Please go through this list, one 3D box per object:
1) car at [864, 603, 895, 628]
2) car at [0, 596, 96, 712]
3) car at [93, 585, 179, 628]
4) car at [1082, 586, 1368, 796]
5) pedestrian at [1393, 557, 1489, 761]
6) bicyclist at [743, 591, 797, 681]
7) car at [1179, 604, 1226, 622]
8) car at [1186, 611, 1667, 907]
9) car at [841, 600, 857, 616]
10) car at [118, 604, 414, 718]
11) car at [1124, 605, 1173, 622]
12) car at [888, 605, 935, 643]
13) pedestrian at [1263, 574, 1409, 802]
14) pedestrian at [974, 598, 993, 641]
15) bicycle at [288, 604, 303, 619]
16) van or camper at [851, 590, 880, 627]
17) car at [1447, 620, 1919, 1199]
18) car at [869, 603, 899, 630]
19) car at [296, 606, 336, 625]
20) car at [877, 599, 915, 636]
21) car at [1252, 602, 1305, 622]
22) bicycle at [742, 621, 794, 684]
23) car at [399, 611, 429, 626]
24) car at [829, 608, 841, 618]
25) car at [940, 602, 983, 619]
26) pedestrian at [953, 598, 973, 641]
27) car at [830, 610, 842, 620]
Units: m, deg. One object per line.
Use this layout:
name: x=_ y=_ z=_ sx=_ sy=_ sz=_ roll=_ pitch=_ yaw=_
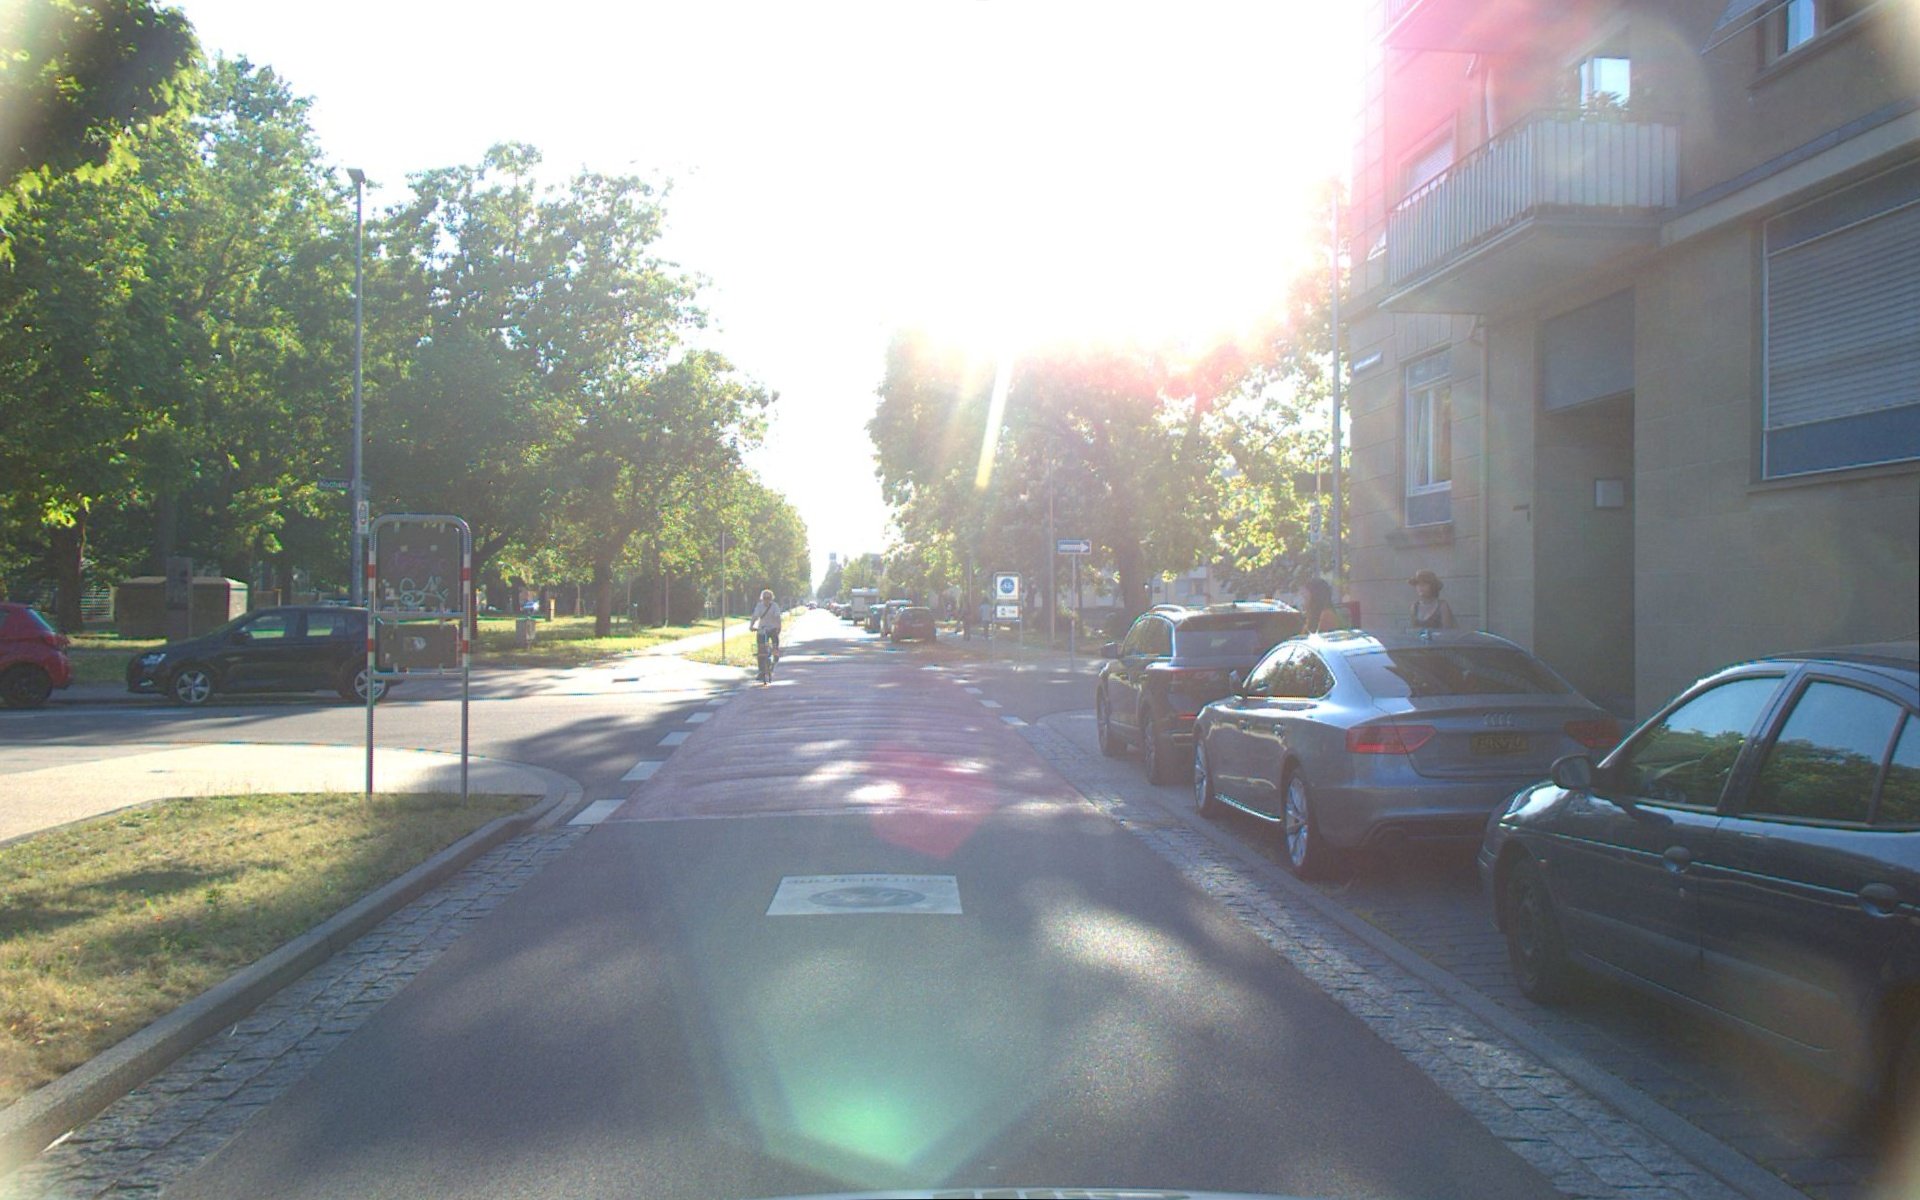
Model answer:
car: x=-5.138 y=0.989 z=104.923 sx=1.698 sy=1.578 sz=4.416 roll=0 pitch=-1 yaw=-6
car: x=-14.328 y=0.757 z=23.084 sx=3.945 sy=1.602 sz=1.872 roll=1 pitch=-2 yaw=-30
car: x=-49.960 y=0.415 z=100.449 sx=2.668 sy=2.506 sz=6.309 roll=0 pitch=-1 yaw=-6
car: x=2.378 y=0.736 z=15.947 sx=1.670 sy=1.654 sz=4.344 roll=-2 pitch=1 yaw=-5
pedestrian: x=4.522 y=0.538 z=15.544 sx=0.725 sy=1.862 sz=0.548 roll=1 pitch=0 yaw=-41
bicyclist: x=-3.728 y=0.699 z=32.575 sx=0.918 sy=1.732 sz=0.906 roll=0 pitch=0 yaw=1
car: x=21.758 y=1.209 z=148.220 sx=3.905 sy=1.579 sz=1.610 roll=-1 pitch=-1 yaw=22
car: x=2.696 y=0.831 z=10.664 sx=1.669 sy=1.445 sz=4.346 roll=-2 pitch=-1 yaw=-3
car: x=-11.871 y=0.909 z=177.129 sx=1.595 sy=1.698 sz=4.244 roll=0 pitch=-1 yaw=-6
car: x=-10.502 y=0.907 z=25.063 sx=3.945 sy=1.602 sz=1.872 roll=1 pitch=-2 yaw=-30
car: x=17.846 y=1.274 z=156.365 sx=4.415 sy=1.597 sz=1.882 roll=0 pitch=-1 yaw=13
car: x=-2.070 y=0.996 z=69.478 sx=1.646 sy=1.512 sz=4.803 roll=0 pitch=-1 yaw=-6
pedestrian: x=3.050 y=0.700 z=13.482 sx=0.934 sy=1.800 sz=0.777 roll=1 pitch=0 yaw=-6
pedestrian: x=0.963 y=0.804 z=68.236 sx=0.711 sy=1.766 sz=0.731 roll=1 pitch=0 yaw=-5
bicycle: x=-54.453 y=0.933 z=135.541 sx=0.644 sy=1.196 sz=2.329 roll=0 pitch=-1 yaw=-8
van or camper: x=-7.790 y=0.716 z=136.024 sx=2.191 sy=2.955 sz=5.665 roll=0 pitch=-1 yaw=-6
car: x=3.176 y=0.821 z=5.384 sx=1.670 sy=1.445 sz=4.032 roll=-2 pitch=-1 yaw=-5
car: x=-4.548 y=0.992 z=98.706 sx=1.697 sy=1.578 sz=4.271 roll=0 pitch=-1 yaw=-4
car: x=-53.329 y=1.316 z=137.063 sx=1.954 sy=1.534 sz=3.996 roll=0 pitch=-1 yaw=-4
car: x=-3.239 y=0.882 z=83.357 sx=1.646 sy=1.770 sz=4.508 roll=0 pitch=-1 yaw=-6
car: x=29.159 y=1.082 z=151.491 sx=4.427 sy=1.776 sz=1.877 roll=-1 pitch=-1 yaw=30
bicycle: x=-3.741 y=1.007 z=32.421 sx=0.723 sy=1.155 sz=2.105 roll=1 pitch=0 yaw=1
car: x=-55.273 y=1.847 z=167.374 sx=1.954 sy=1.534 sz=4.111 roll=0 pitch=-1 yaw=-4
car: x=-18.264 y=1.871 z=241.733 sx=1.595 sy=1.434 sz=4.244 roll=0 pitch=-1 yaw=-6
car: x=0.129 y=1.013 z=158.788 sx=4.110 sy=1.557 sz=1.999 roll=0 pitch=-1 yaw=-1
pedestrian: x=0.127 y=0.798 z=68.172 sx=0.738 sy=1.766 sz=0.731 roll=1 pitch=0 yaw=-5
car: x=-17.300 y=2.091 z=230.379 sx=1.595 sy=1.434 sz=4.244 roll=0 pitch=-1 yaw=-6
